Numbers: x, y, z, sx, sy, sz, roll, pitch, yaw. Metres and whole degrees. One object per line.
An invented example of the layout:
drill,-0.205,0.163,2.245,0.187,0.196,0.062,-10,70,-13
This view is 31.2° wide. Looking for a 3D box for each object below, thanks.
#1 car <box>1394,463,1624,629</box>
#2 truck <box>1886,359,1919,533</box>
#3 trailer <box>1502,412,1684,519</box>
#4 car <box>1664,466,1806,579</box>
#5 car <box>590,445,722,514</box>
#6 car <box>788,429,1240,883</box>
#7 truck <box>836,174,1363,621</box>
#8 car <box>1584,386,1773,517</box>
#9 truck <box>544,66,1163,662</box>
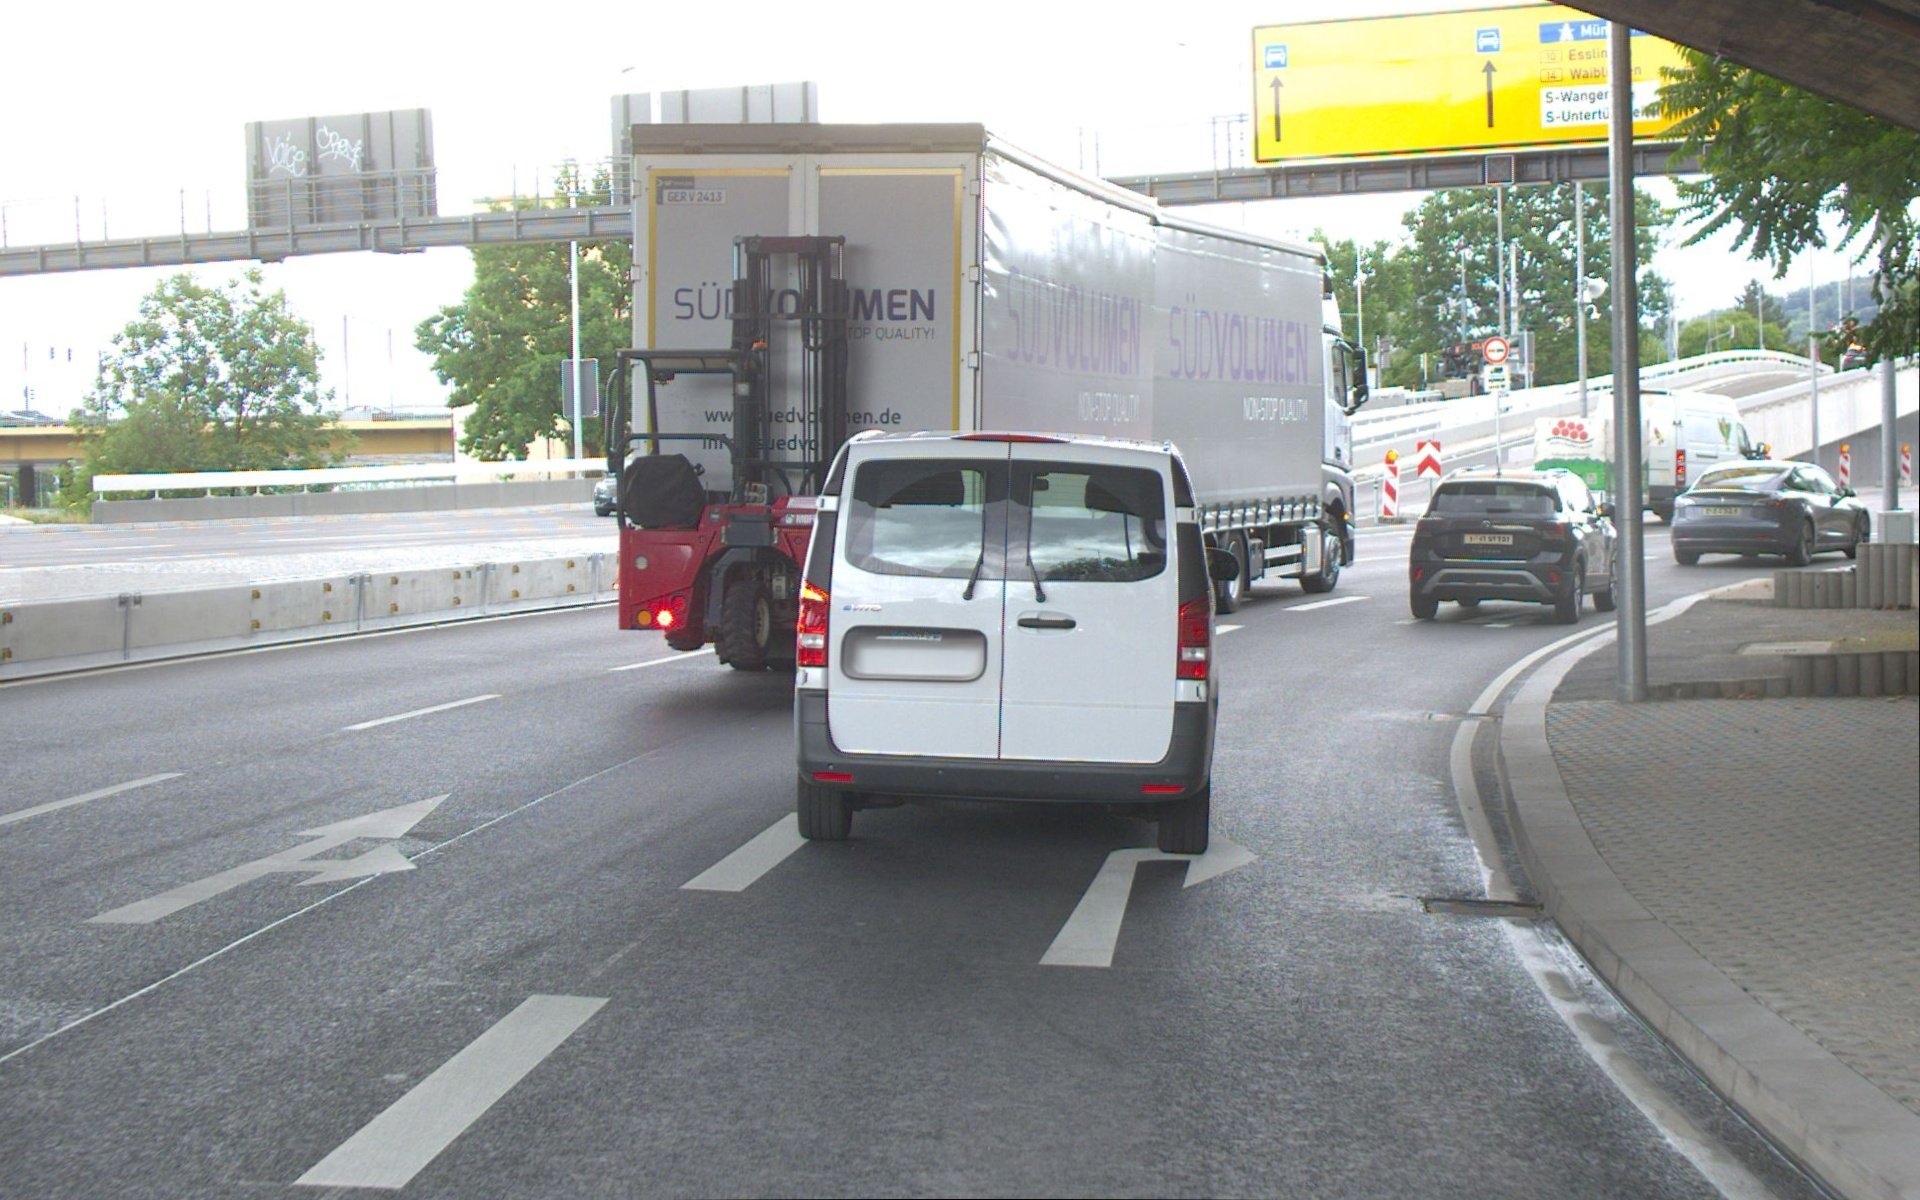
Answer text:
car,5.920,-0.617,36.723,1.751,1.619,3.841,-1,2,19
truck,25.871,-3.608,81.814,3.322,3.796,16.567,2,3,29
trailer,12.003,-2.547,65.040,1.997,1.950,4.071,2,3,32
car,10.960,-1.065,48.496,1.502,1.464,3.395,0,-1,20
car,-7.080,-2.811,80.465,1.737,1.575,4.146,1,2,16
car,0.250,0.125,16.920,1.876,1.884,4.754,1,3,1
truck,1.908,-2.068,37.810,2.990,4.161,11.232,1,2,17
car,14.453,-2.975,68.929,1.997,2.533,5.165,2,3,32
truck,-0.461,-1.759,28.400,2.919,4.003,10.197,1,2,11
